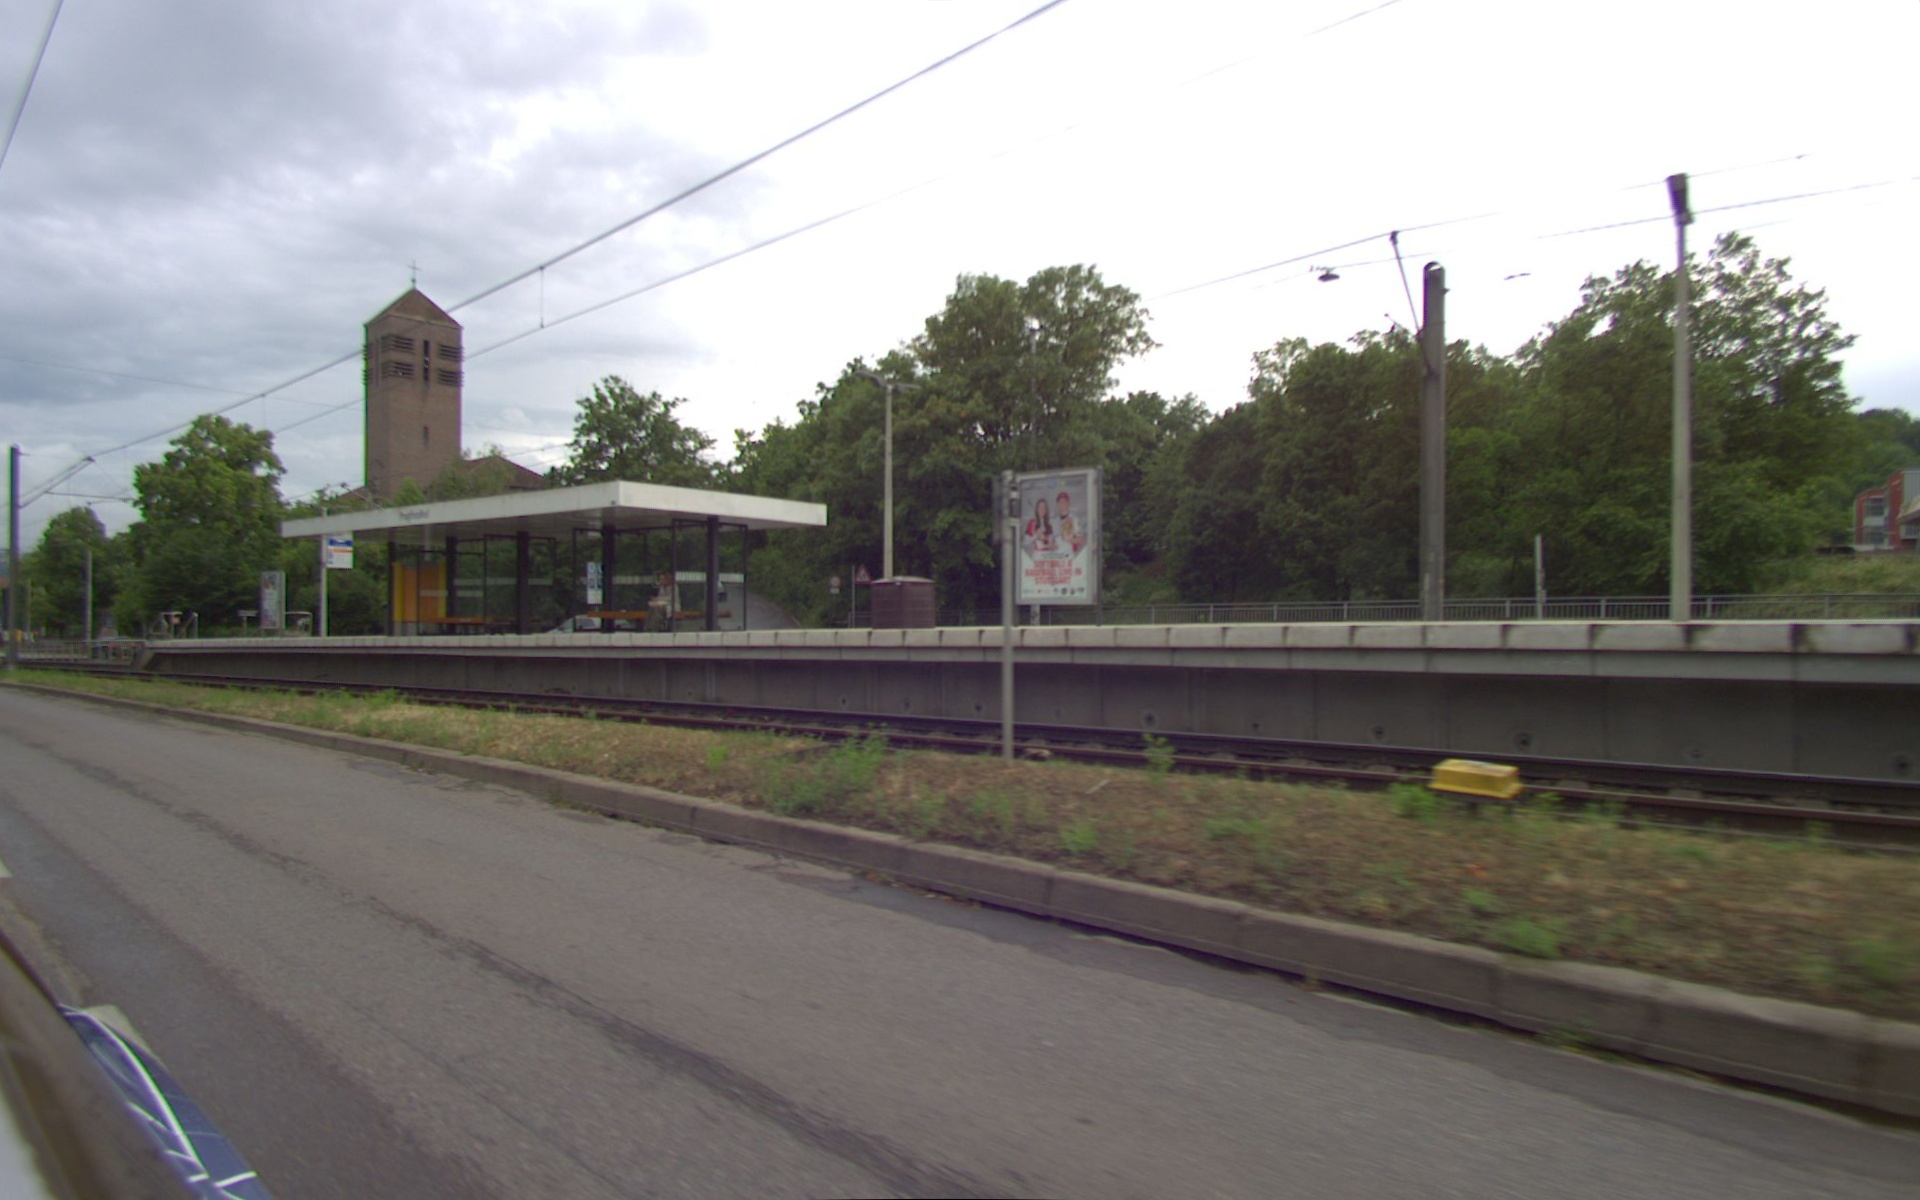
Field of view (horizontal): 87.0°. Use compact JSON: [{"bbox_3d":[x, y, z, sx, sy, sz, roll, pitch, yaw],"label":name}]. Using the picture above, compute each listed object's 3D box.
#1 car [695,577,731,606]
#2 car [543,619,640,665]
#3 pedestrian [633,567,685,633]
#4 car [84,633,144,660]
[{"bbox_3d":[-18.466,-0.654,75.530,1.965,2.028,4.013,-2,1,-23],"label":"car"},{"bbox_3d":[-16.345,1.852,44.807,4.513,1.890,1.974,-2,-1,39],"label":"car"},{"bbox_3d":[-5.724,0.004,19.248,0.619,1.235,0.703,-2,-1,40],"label":"pedestrian"},{"bbox_3d":[-54.942,2.998,65.687,4.509,1.636,1.976,-2,-1,36],"label":"car"}]
